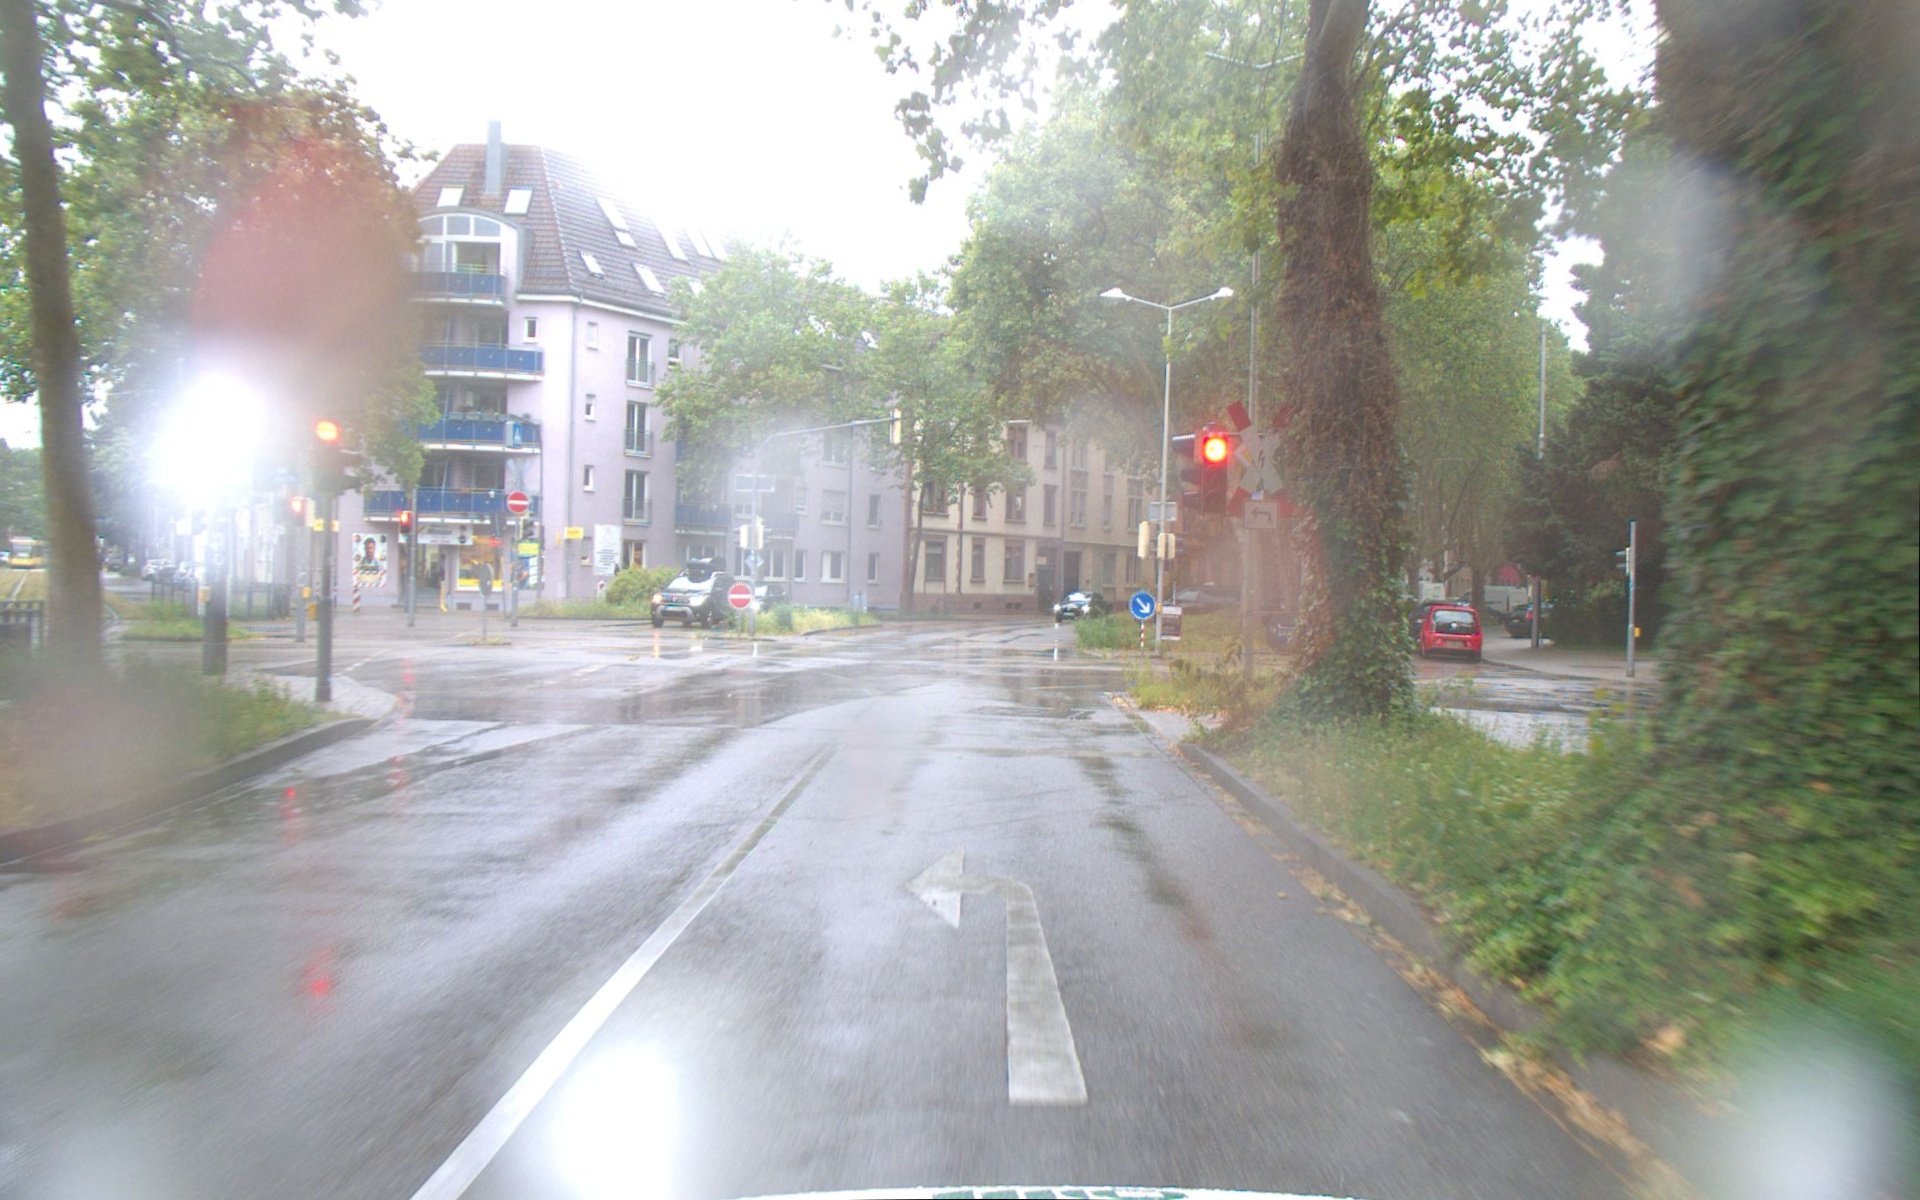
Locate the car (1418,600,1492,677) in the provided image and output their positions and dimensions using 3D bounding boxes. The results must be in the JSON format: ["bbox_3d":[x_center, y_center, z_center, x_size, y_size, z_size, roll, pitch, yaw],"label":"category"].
[{"bbox_3d":[14.173,1.060,47.378,1.951,2.049,4.003,0,1,17],"label":"car"}]

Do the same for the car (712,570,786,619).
[{"bbox_3d":[-7.125,-0.202,56.189,1.688,1.579,3.562,0,1,7],"label":"car"}]

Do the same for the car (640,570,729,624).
[{"bbox_3d":[-8.298,-0.113,50.084,1.688,1.579,3.562,0,1,7],"label":"car"}]

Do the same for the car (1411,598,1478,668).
[{"bbox_3d":[15.235,0.992,51.996,1.951,2.049,4.003,0,1,17],"label":"car"}]

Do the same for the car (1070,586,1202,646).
[{"bbox_3d":[4.709,0.413,44.124,3.404,1.550,1.521,0,1,10],"label":"car"}]

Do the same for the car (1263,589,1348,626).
[{"bbox_3d":[15.985,0.335,76.526,3.538,1.646,1.679,0,1,30],"label":"car"}]

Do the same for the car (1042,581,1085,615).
[{"bbox_3d":[4.931,-0.102,78.624,1.568,1.579,3.563,0,1,12],"label":"car"}]
